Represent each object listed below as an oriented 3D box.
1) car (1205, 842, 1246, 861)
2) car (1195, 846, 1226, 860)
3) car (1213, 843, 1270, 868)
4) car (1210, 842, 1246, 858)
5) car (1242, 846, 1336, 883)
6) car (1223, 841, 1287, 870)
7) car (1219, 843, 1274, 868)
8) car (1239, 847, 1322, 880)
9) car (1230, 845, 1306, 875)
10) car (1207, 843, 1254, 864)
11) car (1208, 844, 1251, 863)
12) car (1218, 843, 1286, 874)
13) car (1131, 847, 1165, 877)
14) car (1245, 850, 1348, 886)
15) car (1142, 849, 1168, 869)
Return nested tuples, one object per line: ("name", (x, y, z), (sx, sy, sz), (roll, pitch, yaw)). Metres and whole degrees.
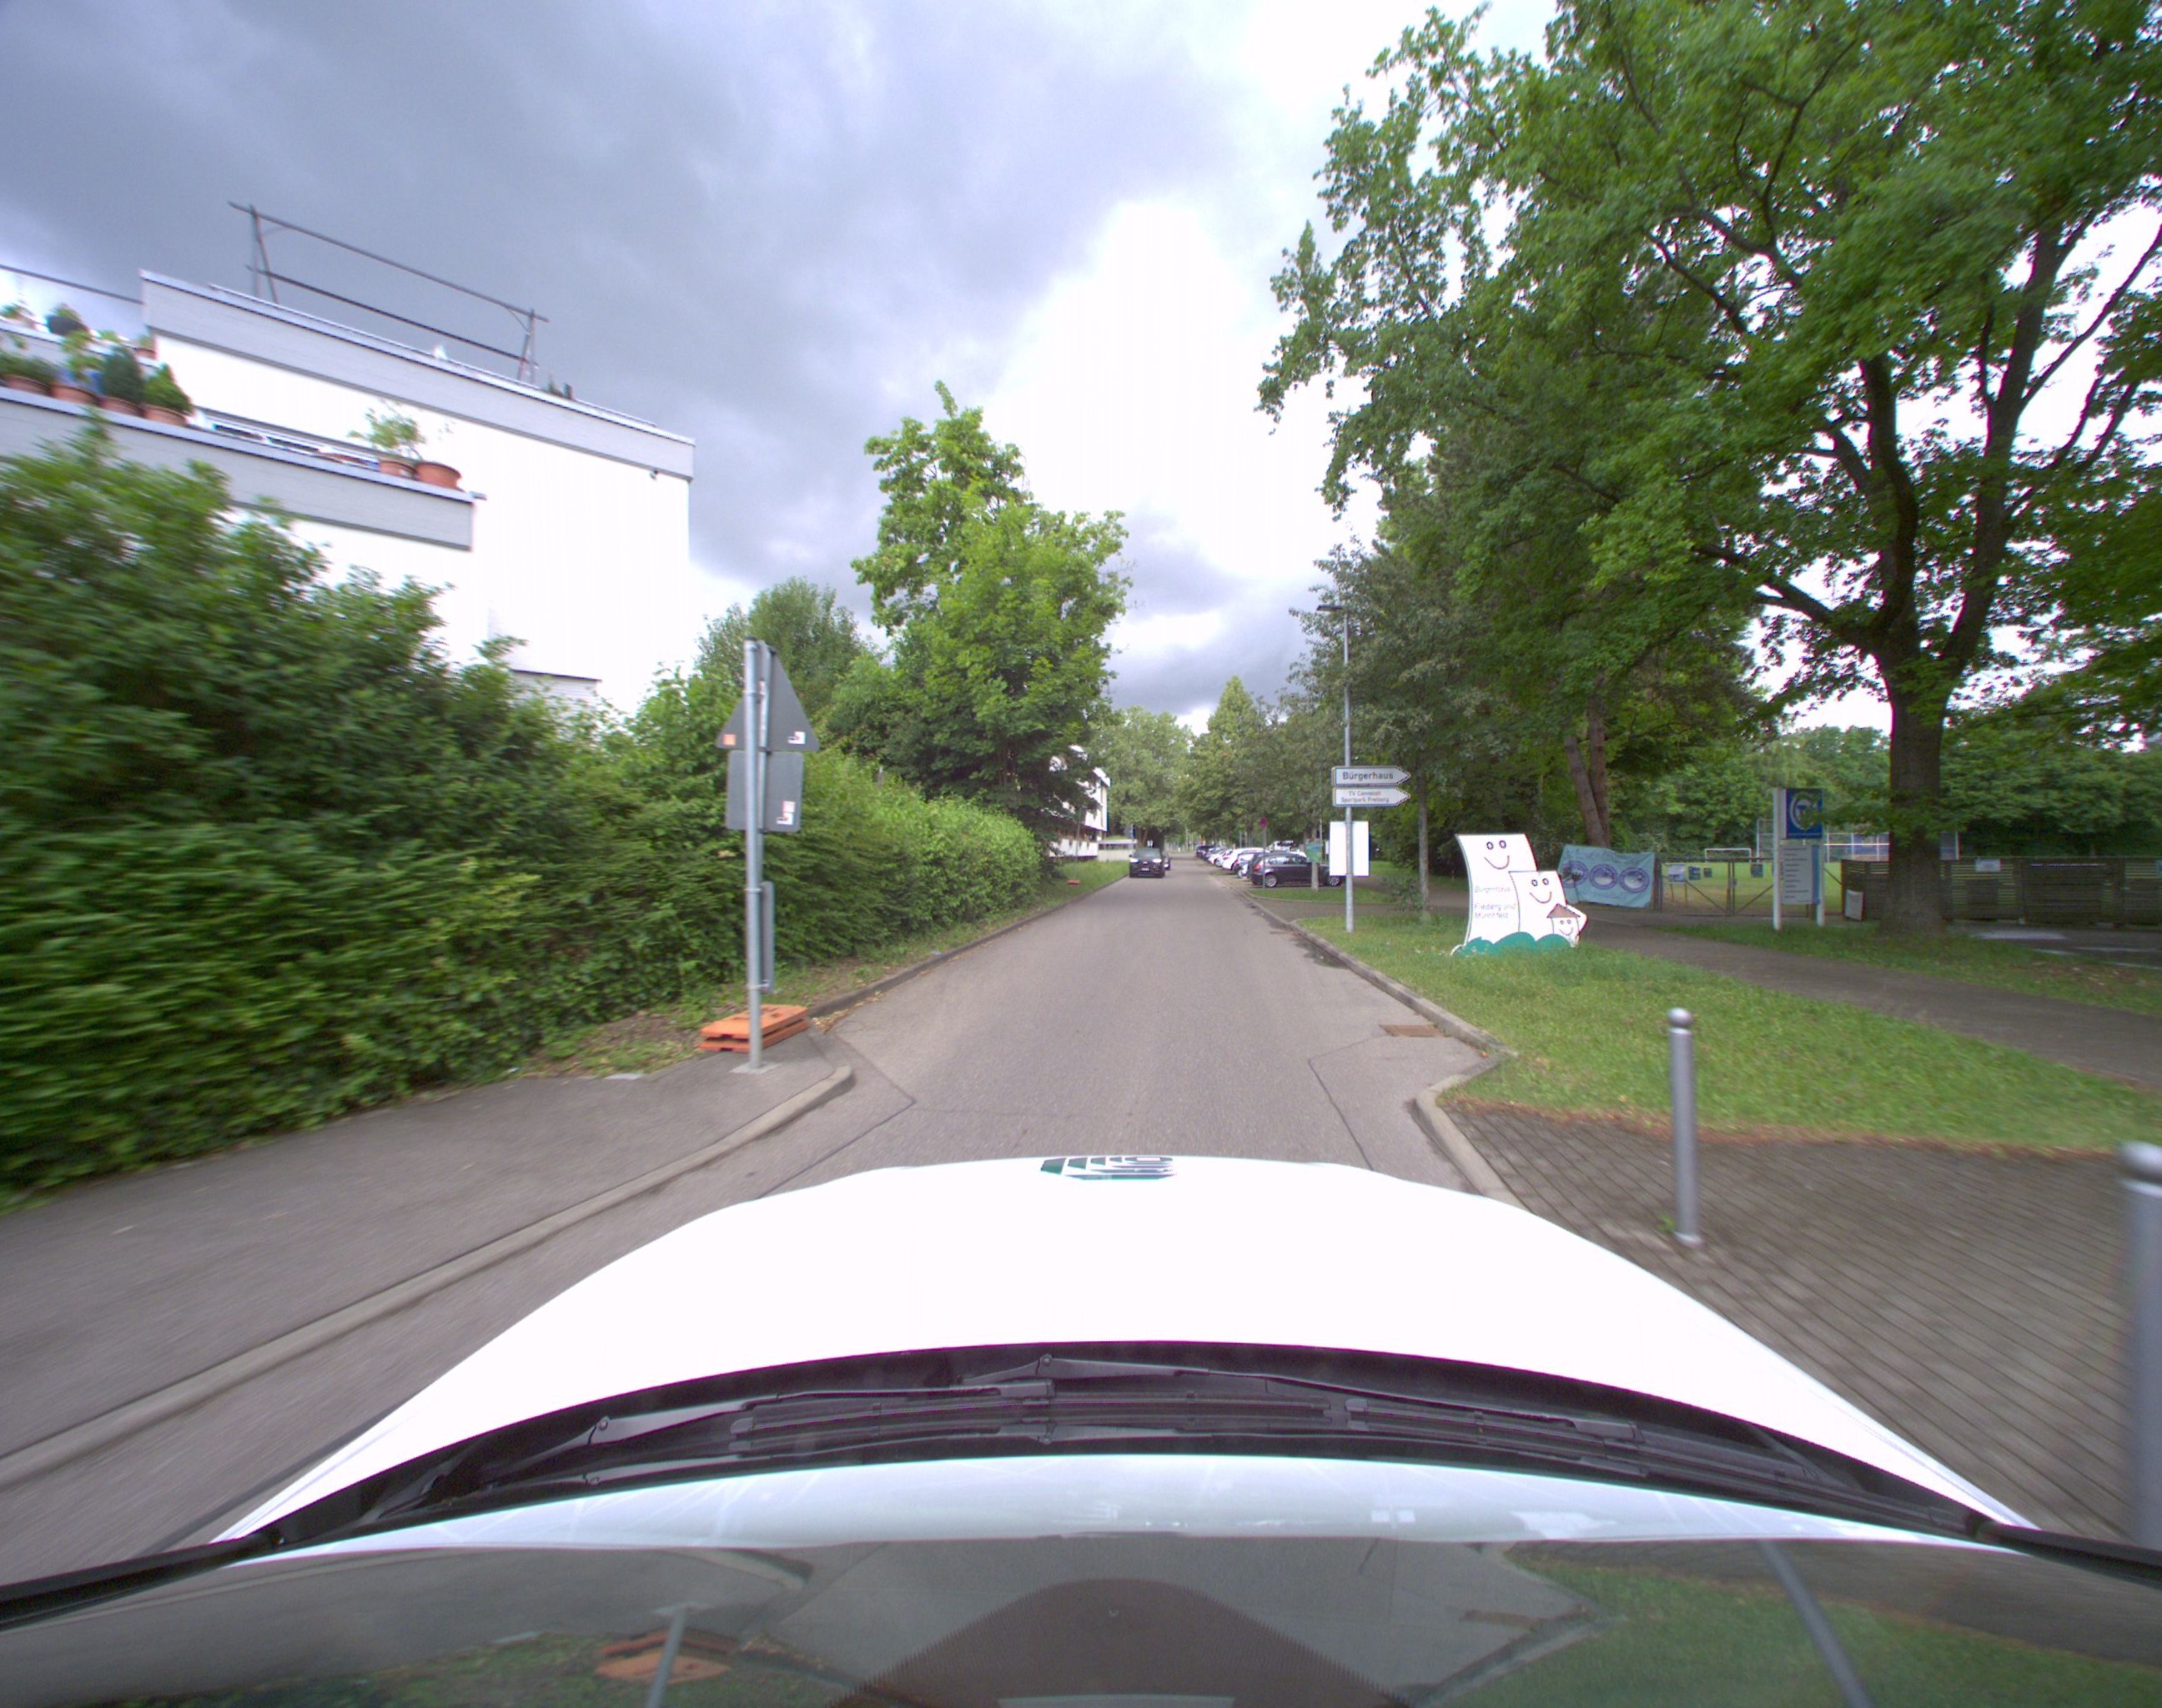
("car", (15.480, -0.256, 87.353), (4.046, 1.687, 1.824), (-4, 0, 3))
("car", (18.327, -0.166, 115.411), (4.046, 1.770, 1.824), (-4, 0, 3))
("car", (12.481, 0.116, 63.349), (4.046, 1.687, 1.824), (-4, 0, 3))
("car", (18.297, -0.495, 101.440), (4.046, 1.770, 1.824), (-4, 0, 3))
("car", (9.683, 0.521, 38.211), (4.042, 1.568, 1.825), (-2, -2, 6))
("car", (12.102, 0.098, 56.906), (4.046, 1.687, 1.824), (-4, 0, 3))
("car", (13.338, 0.123, 65.839), (4.046, 1.687, 1.824), (-4, 0, 3))
("car", (10.502, 0.474, 43.080), (4.042, 1.568, 1.826), (-2, 0, 6))
("car", (10.932, 0.337, 47.753), (4.046, 1.488, 1.824), (-4, 0, 3))
("car", (14.037, -0.077, 76.435), (4.046, 1.687, 1.824), (-4, 0, 3))
("car", (14.933, -0.057, 81.955), (4.046, 1.687, 1.824), (-4, 0, 3))
("car", (11.058, 0.263, 52.896), (4.046, 1.687, 1.824), (-4, 0, 3))
("car", (4.080, 0.434, 49.126), (1.959, 1.747, 4.346), (0, 0, 6))
("car", (9.329, 0.613, 35.505), (4.042, 1.434, 2.003), (-2, -2, 6))
("car", (5.995, 0.363, 65.743), (1.959, 1.575, 4.346), (0, 0, 6))
